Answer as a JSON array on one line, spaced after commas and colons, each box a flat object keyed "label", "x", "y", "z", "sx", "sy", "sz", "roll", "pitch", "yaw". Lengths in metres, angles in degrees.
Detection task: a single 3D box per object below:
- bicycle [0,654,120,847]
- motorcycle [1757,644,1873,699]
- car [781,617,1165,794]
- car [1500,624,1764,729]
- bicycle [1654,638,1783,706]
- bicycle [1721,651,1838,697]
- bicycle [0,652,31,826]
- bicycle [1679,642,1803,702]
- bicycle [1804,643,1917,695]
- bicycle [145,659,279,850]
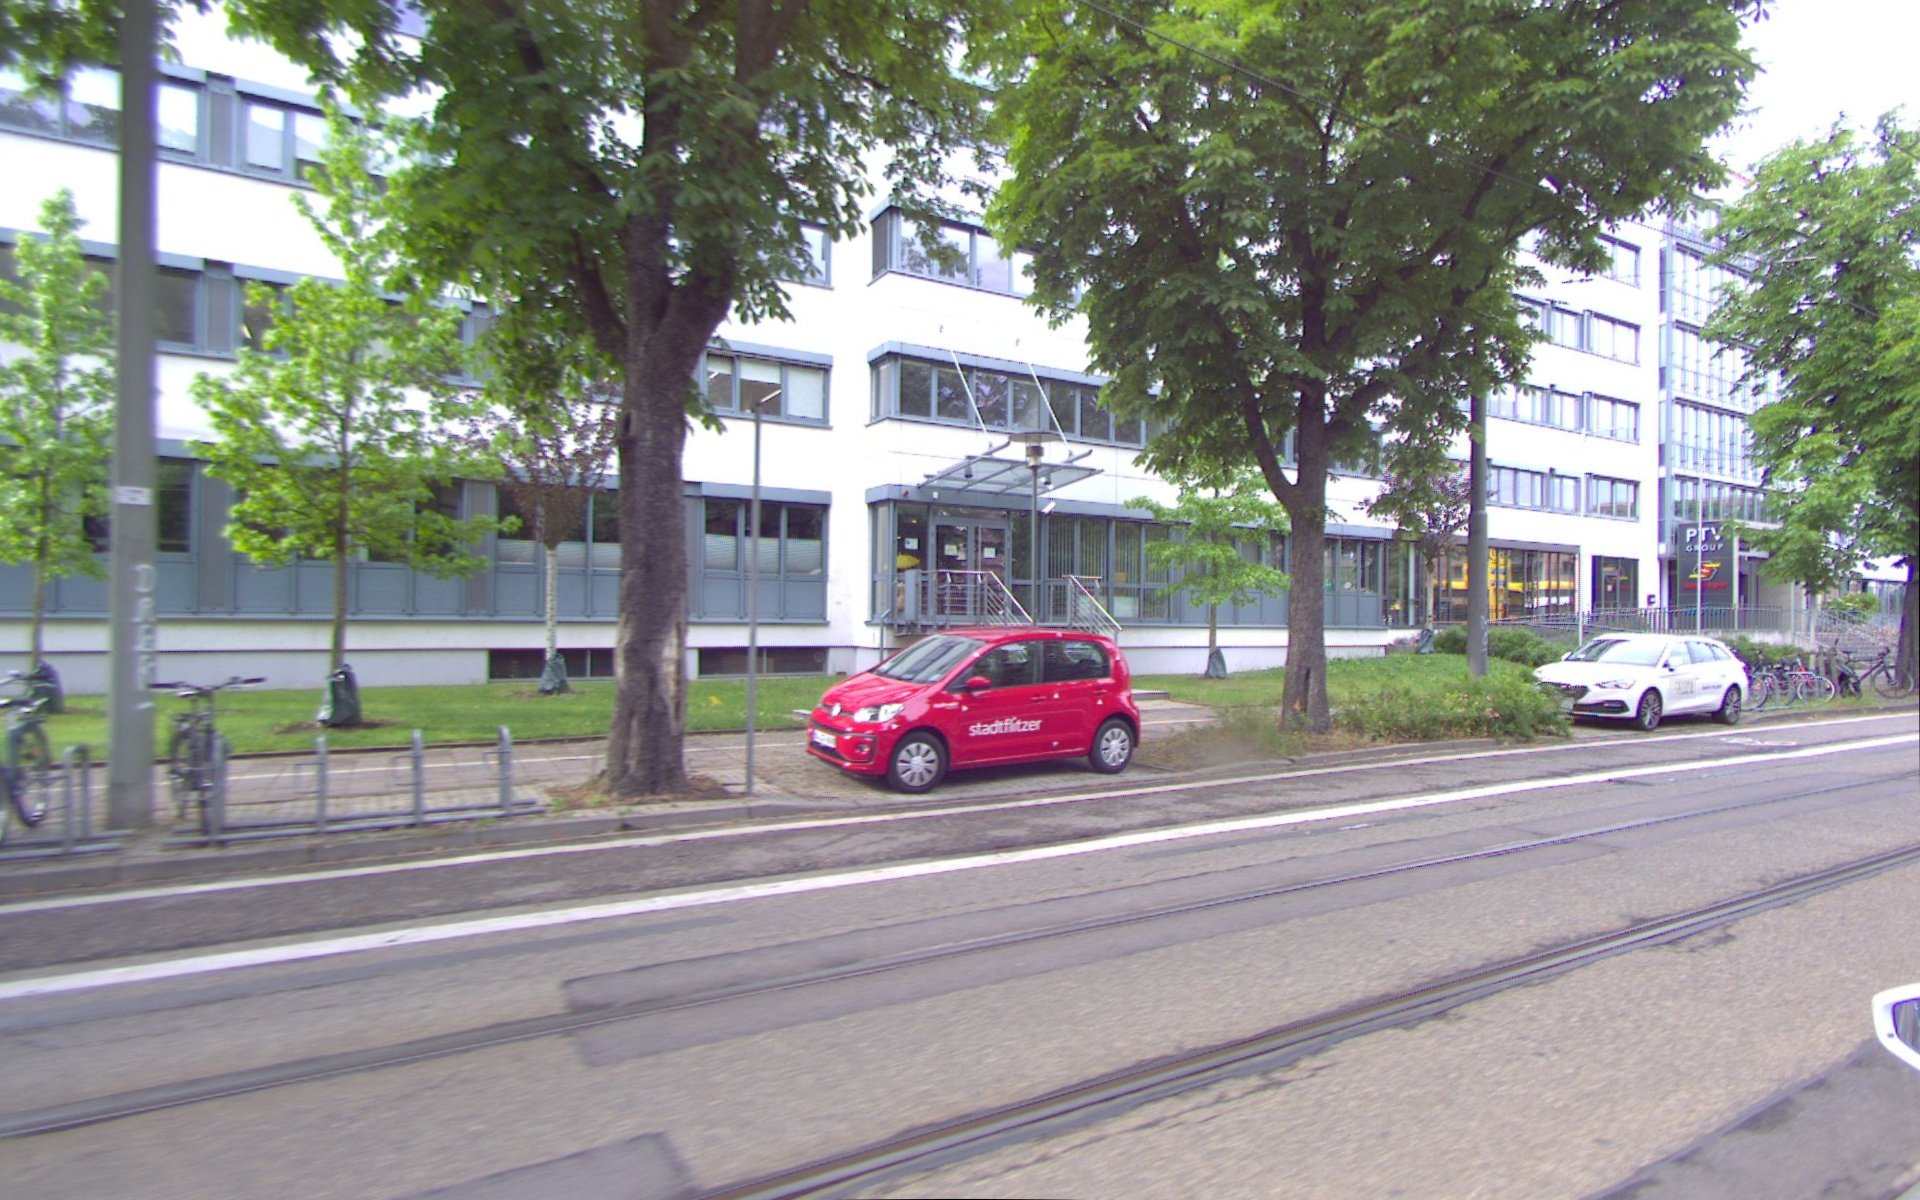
[{"label": "bicycle", "x": -6.323, "y": 0.969, "z": 6.884, "sx": 0.610, "sy": 1.156, "sz": 1.462, "roll": 2, "pitch": -2, "yaw": -31}, {"label": "motorcycle", "x": 18.295, "y": 1.507, "z": 21.521, "sx": 0.726, "sy": 1.064, "sz": 1.775, "roll": 2, "pitch": -1, "yaw": -36}, {"label": "car", "x": 0.201, "y": 0.985, "z": 10.467, "sx": 3.718, "sy": 1.467, "sz": 1.618, "roll": 2, "pitch": 1, "yaw": -34}, {"label": "car", "x": 11.451, "y": 1.201, "z": 17.047, "sx": 4.698, "sy": 1.513, "sz": 1.872, "roll": 1, "pitch": 0, "yaw": -30}, {"label": "bicycle", "x": 14.180, "y": 1.320, "z": 18.841, "sx": 0.624, "sy": 1.202, "sz": 1.859, "roll": 1, "pitch": -2, "yaw": -25}, {"label": "bicycle", "x": 17.037, "y": 1.521, "z": 20.920, "sx": 0.626, "sy": 0.911, "sz": 1.794, "roll": 2, "pitch": -3, "yaw": -35}, {"label": "bicycle", "x": -6.729, "y": 0.956, "z": 6.587, "sx": 0.610, "sy": 1.156, "sz": 1.462, "roll": 2, "pitch": 0, "yaw": -31}, {"label": "bicycle", "x": 15.128, "y": 1.375, "z": 19.494, "sx": 0.626, "sy": 1.114, "sz": 1.794, "roll": 2, "pitch": -3, "yaw": -35}, {"label": "bicycle", "x": 20.375, "y": 1.540, "z": 22.745, "sx": 0.735, "sy": 1.067, "sz": 1.814, "roll": 1, "pitch": -1, "yaw": -38}, {"label": "bicycle", "x": -5.311, "y": 1.022, "z": 7.102, "sx": 0.613, "sy": 1.106, "sz": 1.456, "roll": 2, "pitch": 0, "yaw": -42}]
